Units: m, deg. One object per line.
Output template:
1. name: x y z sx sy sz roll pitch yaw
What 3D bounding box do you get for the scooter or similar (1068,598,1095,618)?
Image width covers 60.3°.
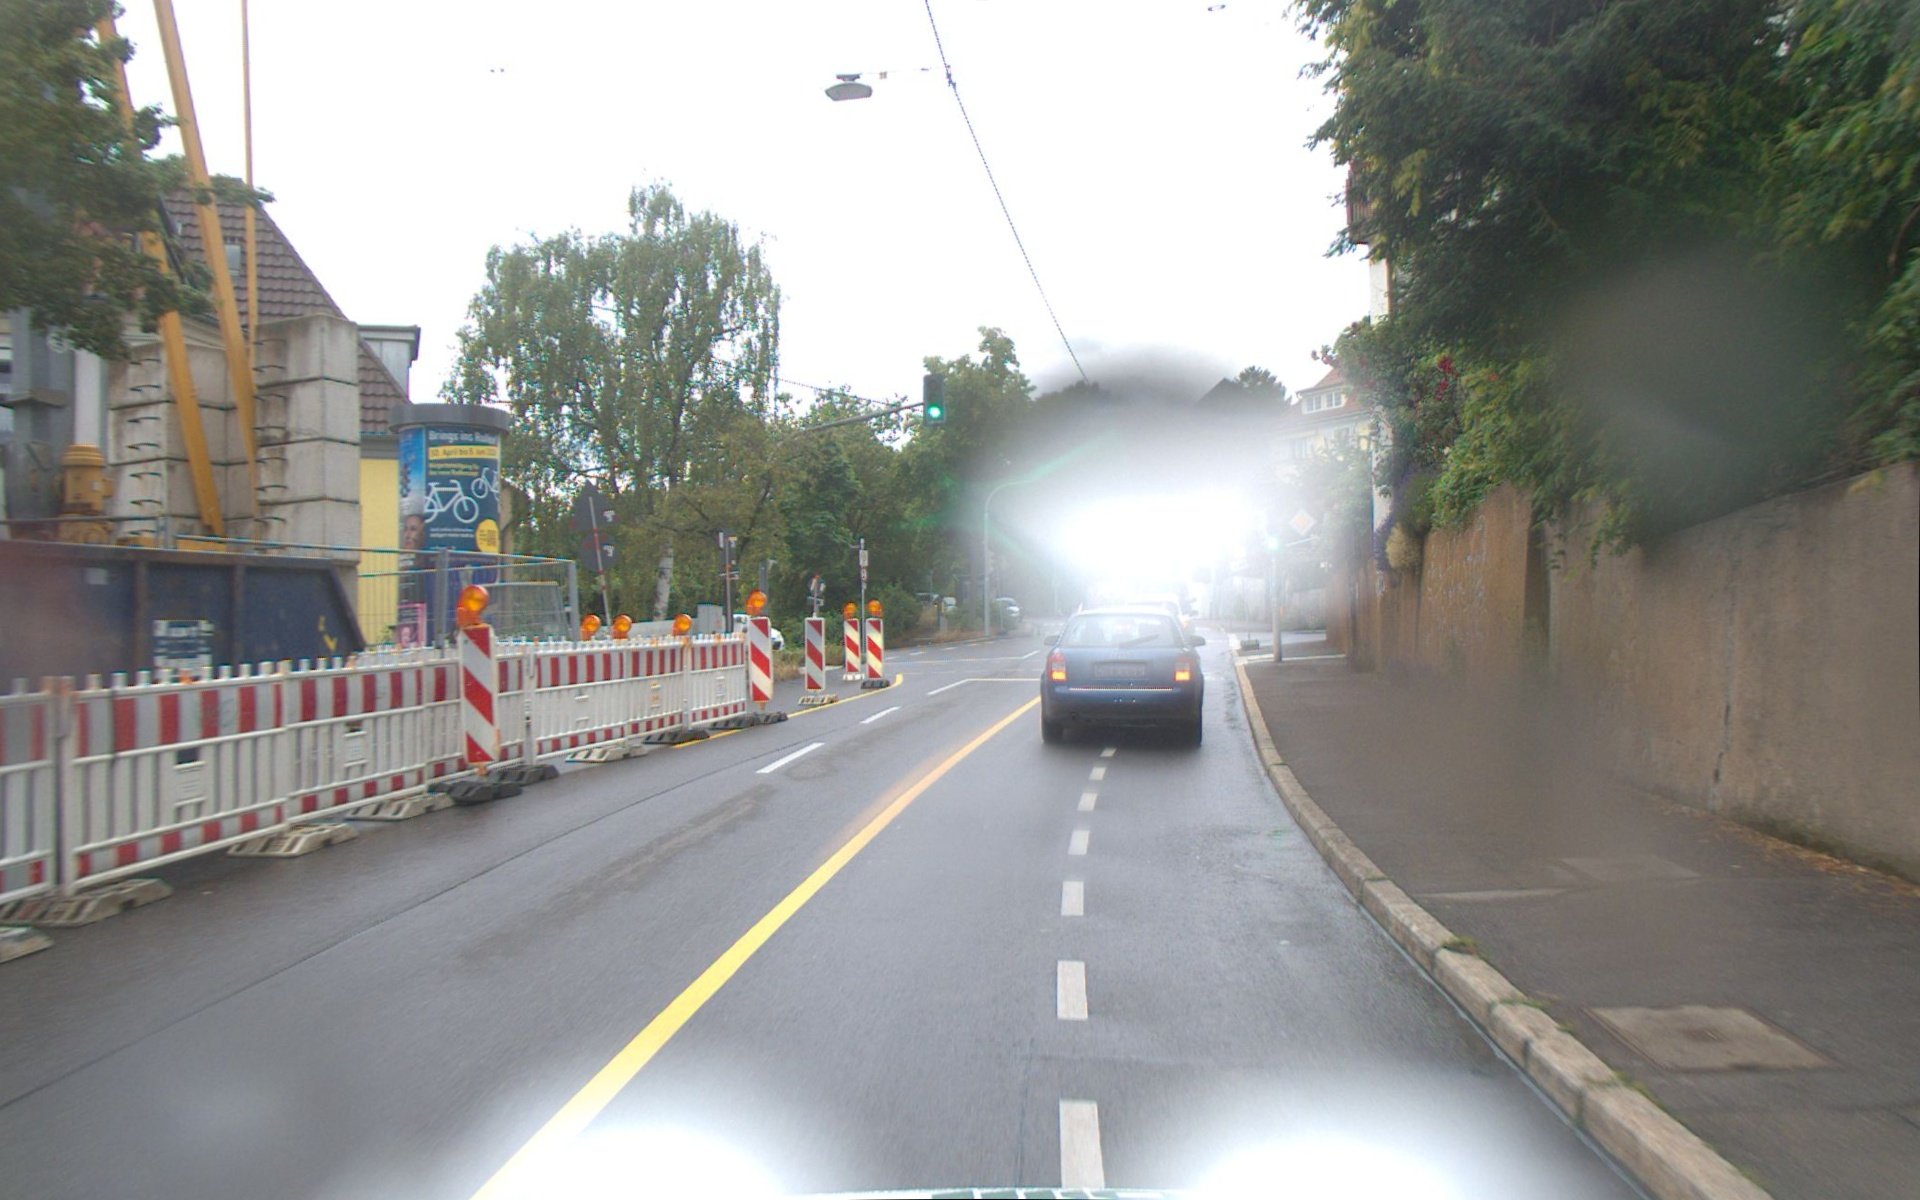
1. scooter or similar: 8.741 0.563 119.301 1.798 1.338 0.599 3 -3 -4

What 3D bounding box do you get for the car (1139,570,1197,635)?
1. car: 6.739 0.061 53.405 1.694 1.927 4.058 -3 0 8

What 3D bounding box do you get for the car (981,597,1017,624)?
1. car: 2.188 0.581 93.600 1.641 1.451 3.997 -3 0 -4

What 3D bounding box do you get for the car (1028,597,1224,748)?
1. car: 1.960 0.711 18.467 1.739 1.464 4.004 0 0 12

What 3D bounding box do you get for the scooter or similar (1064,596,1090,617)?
1. scooter or similar: 8.368 0.484 118.340 1.798 1.338 0.599 3 -3 -4

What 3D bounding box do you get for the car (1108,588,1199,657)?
1. car: 4.360 0.511 36.832 1.868 1.413 4.353 1 -1 8

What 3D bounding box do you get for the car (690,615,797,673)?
1. car: -6.763 1.383 51.393 1.669 1.535 3.964 -4 -2 -33

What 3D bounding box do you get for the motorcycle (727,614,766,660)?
1. motorcycle: -5.733 0.987 44.556 0.578 1.150 1.844 -3 0 6
